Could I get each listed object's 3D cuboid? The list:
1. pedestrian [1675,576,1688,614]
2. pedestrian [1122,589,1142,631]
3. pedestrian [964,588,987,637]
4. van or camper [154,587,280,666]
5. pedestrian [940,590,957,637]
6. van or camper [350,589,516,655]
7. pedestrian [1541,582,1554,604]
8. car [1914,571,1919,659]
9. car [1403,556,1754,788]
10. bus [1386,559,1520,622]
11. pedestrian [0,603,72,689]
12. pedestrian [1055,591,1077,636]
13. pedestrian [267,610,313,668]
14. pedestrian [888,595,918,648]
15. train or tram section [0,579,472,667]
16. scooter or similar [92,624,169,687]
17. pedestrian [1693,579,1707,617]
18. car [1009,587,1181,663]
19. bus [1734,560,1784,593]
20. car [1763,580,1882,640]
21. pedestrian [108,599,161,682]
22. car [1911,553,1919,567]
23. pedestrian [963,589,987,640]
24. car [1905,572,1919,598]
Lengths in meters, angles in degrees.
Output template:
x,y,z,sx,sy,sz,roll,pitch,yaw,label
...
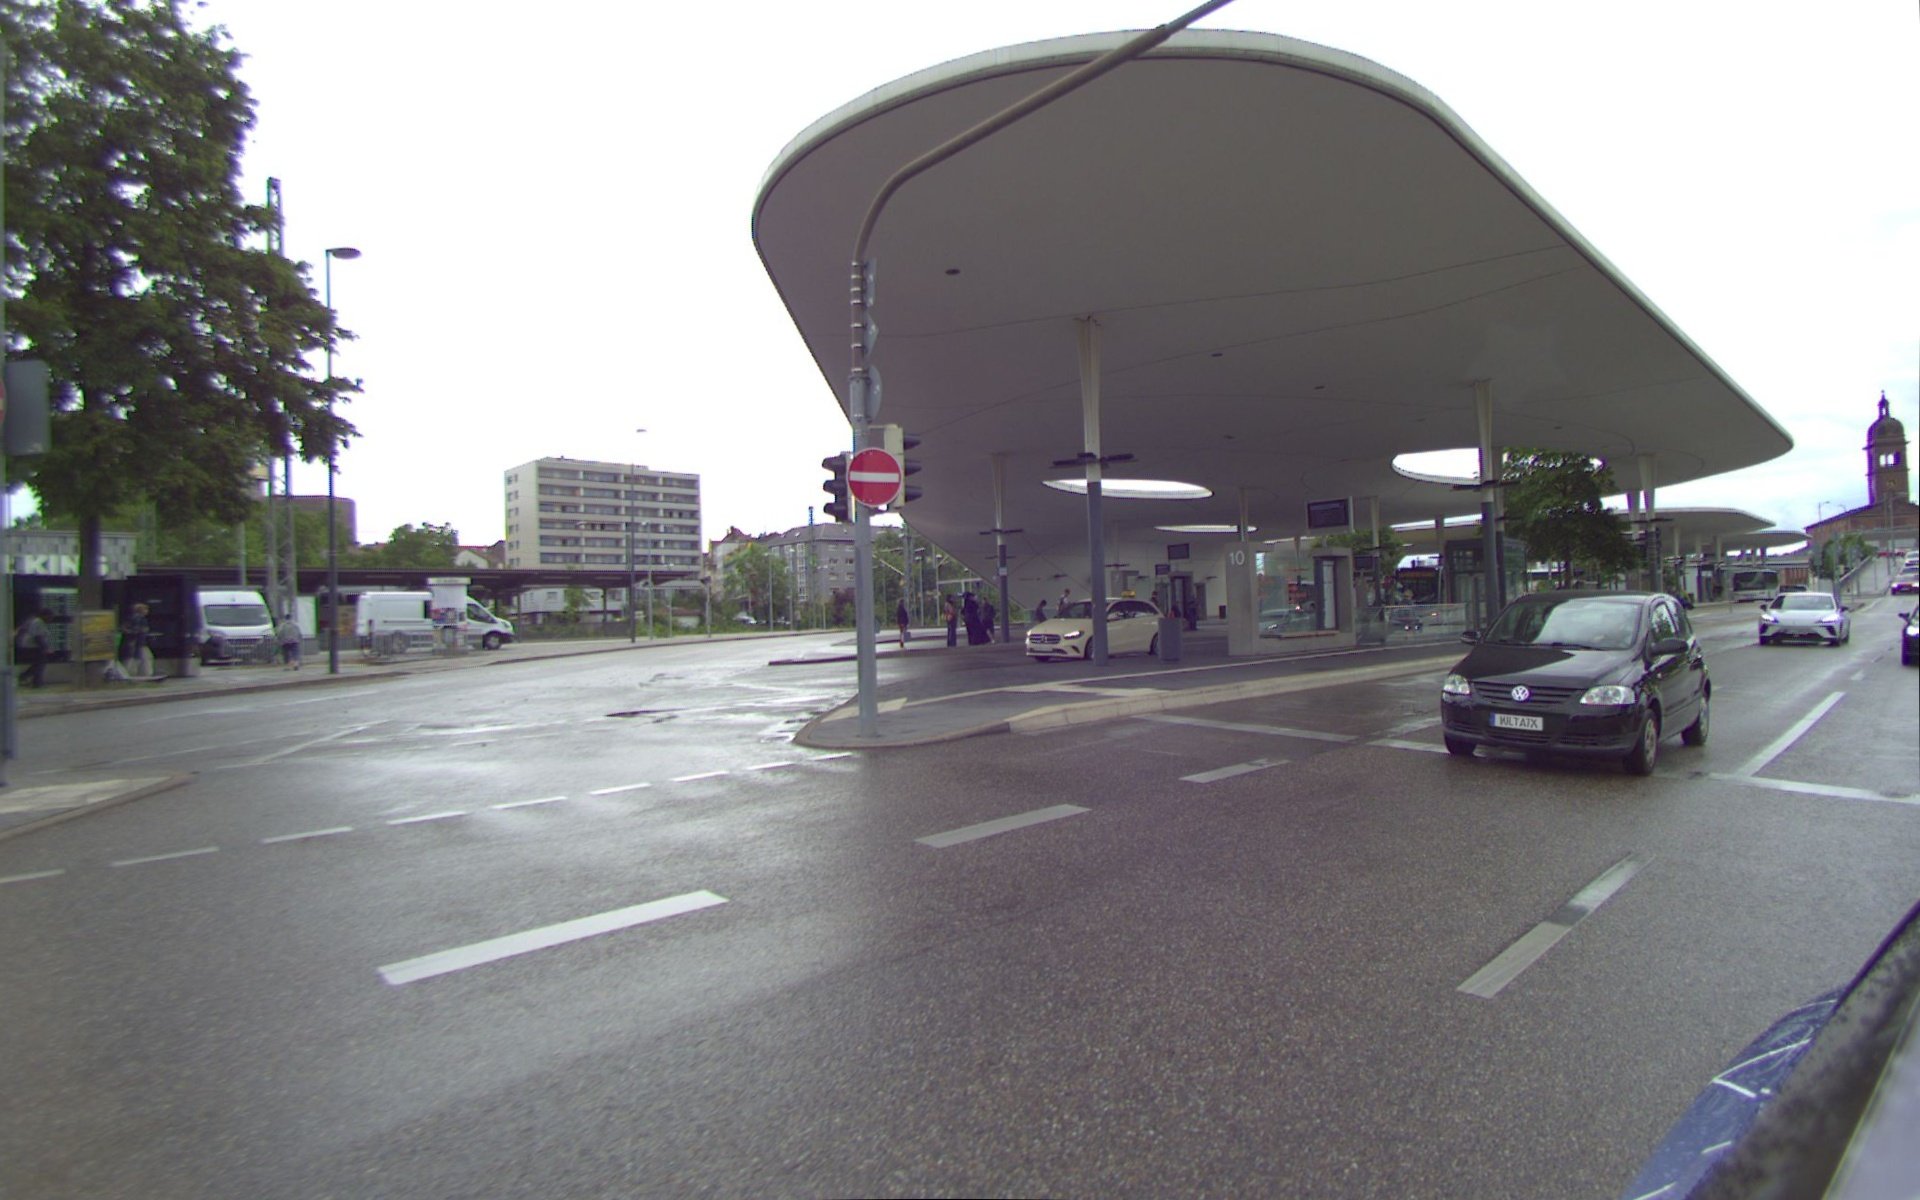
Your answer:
x,y,z,sx,sy,sz,roll,pitch,yaw,label
34.118,-0.243,47.867,0.443,1.786,0.530,-1,0,39,pedestrian
6.347,0.372,37.340,0.526,1.533,0.478,-1,0,-40,pedestrian
0.482,0.382,31.645,0.470,1.533,0.534,-1,0,-39,pedestrian
-25.517,0.803,34.662,5.836,2.464,2.135,0,1,40,van or camper
-0.394,0.451,33.434,0.469,1.533,0.536,-1,0,-10,pedestrian
-21.713,0.812,41.884,5.769,2.464,1.995,-2,1,-44,van or camper
55.094,-0.625,94.875,1.015,2.039,0.872,0,1,26,pedestrian
21.021,0.263,20.874,1.871,1.723,4.091,0,1,45,car
6.085,0.478,9.756,4.088,1.723,1.873,-3,2,-43,car
27.213,-0.547,55.402,11.726,3.121,2.871,-1,1,-45,bus
-18.611,0.912,20.387,0.781,1.688,0.723,-1,1,-5,pedestrian
3.619,0.451,34.579,0.526,1.533,0.478,-1,0,-40,pedestrian
-18.237,1.050,27.558,0.628,1.549,0.836,0,0,16,pedestrian
-1.789,0.675,31.636,0.726,1.615,0.642,-1,1,-30,pedestrian
-43.758,1.034,57.666,28.833,4.234,4.593,-2,1,-45,train or tram section
-17.068,1.126,20.854,0.328,1.197,1.299,0,1,12,scooter or similar
34.645,-0.090,47.371,0.442,1.786,0.531,-1,0,30,pedestrian
3.464,0.540,25.427,4.468,1.702,1.995,-2,1,-44,car
80.085,-2.300,101.558,3.564,3.137,10.612,-1,0,37,bus
24.789,0.246,29.068,3.975,1.578,1.811,-1,1,-37,car
-17.565,0.841,21.552,0.782,1.688,0.723,-1,1,-34,pedestrian
109.543,-4.533,115.169,1.642,1.580,3.598,0,1,40,car
0.465,0.442,30.641,0.470,1.533,0.534,-1,0,-39,pedestrian
77.919,-1.250,81.899,1.994,2.039,3.936,0,1,44,car
